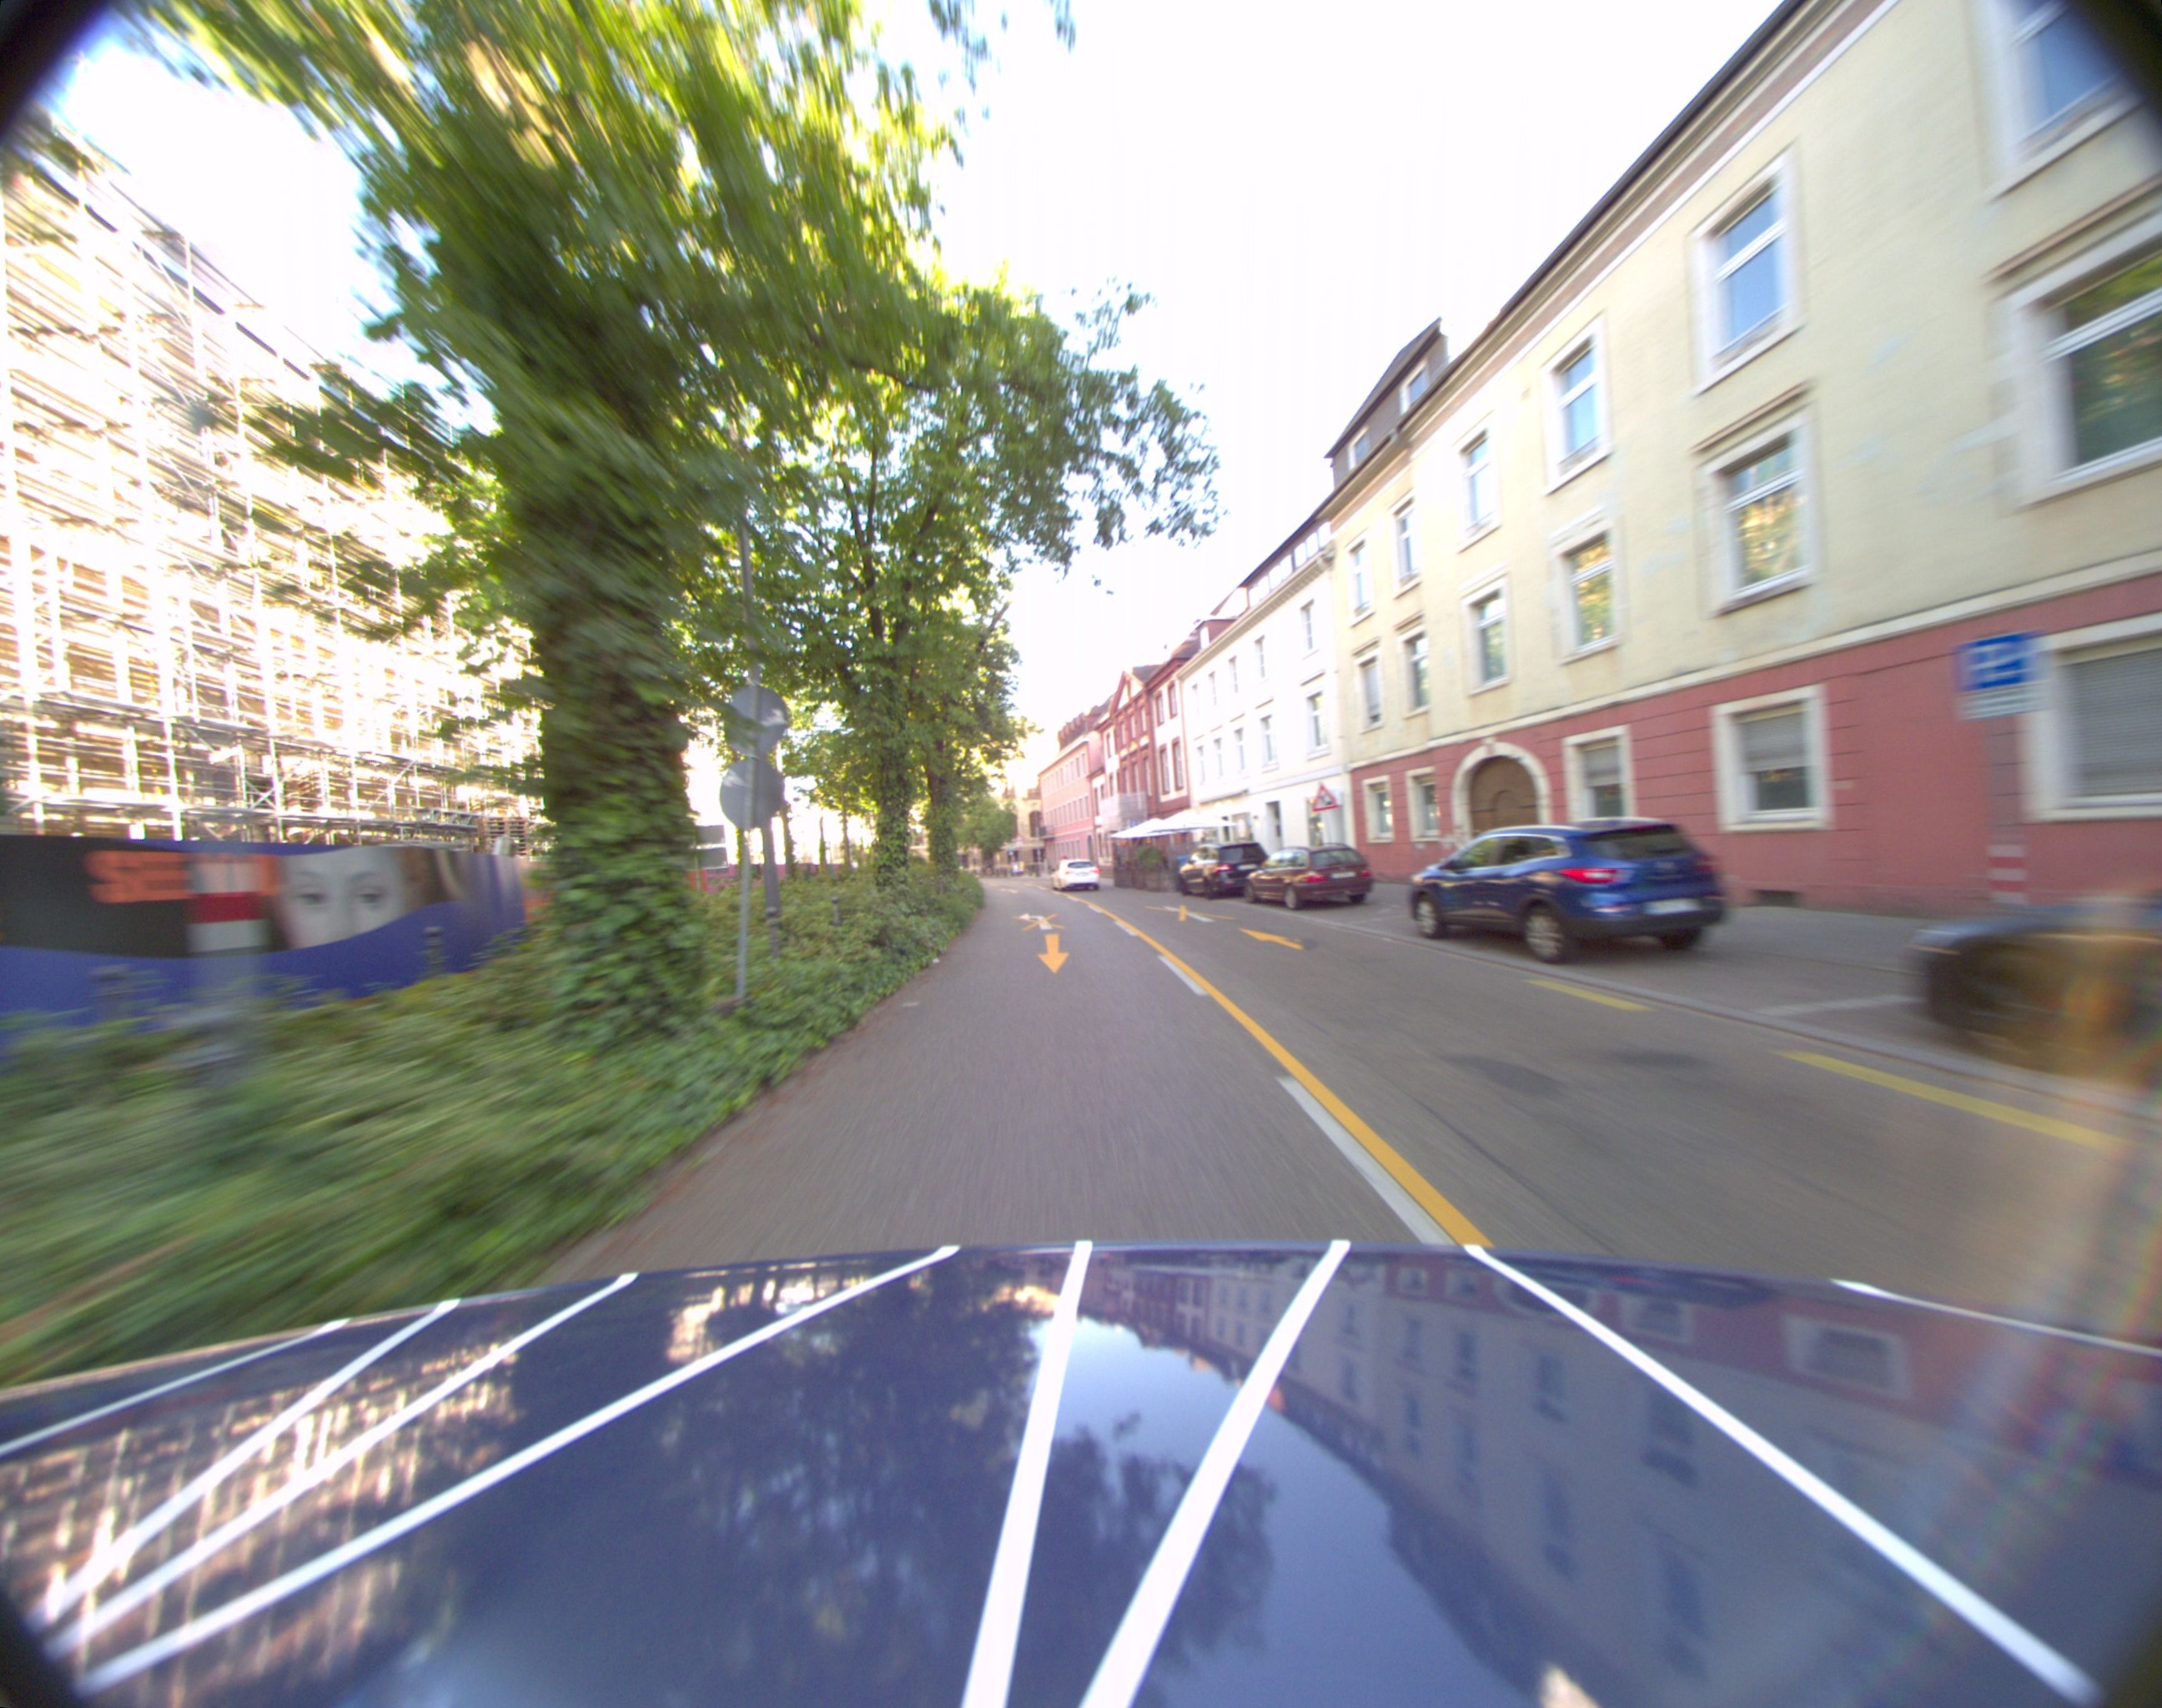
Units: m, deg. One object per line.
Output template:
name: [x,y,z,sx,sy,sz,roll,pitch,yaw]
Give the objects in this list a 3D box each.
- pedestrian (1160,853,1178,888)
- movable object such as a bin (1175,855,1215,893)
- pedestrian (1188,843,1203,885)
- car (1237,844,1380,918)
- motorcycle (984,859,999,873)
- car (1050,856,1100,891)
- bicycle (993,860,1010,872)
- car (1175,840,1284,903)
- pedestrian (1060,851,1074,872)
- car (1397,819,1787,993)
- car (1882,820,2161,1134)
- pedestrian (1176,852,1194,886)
pedestrian: [3.660,0.683,31.745,0.525,1.383,0.488,-4,1,-12]
movable object such as a bin: [4.166,0.713,27.866,1.219,1.288,0.930,-4,1,-4]
pedestrian: [4.940,0.412,32.813,0.438,1.765,0.597,-4,1,4]
car: [5.371,0.587,18.583,1.658,1.472,4.425,-4,0,-7]
motorcycle: [-9.348,1.283,79.245,0.815,1.309,2.333,-4,0,-25]
car: [-0.360,0.857,35.470,1.740,1.413,4.425,-3,0,-8]
bicycle: [-8.499,1.241,81.284,0.682,1.199,2.009,-2,0,32]
car: [4.516,0.495,23.949,1.928,1.670,4.782,-4,0,-7]
pedestrian: [-1.172,0.622,63.148,0.794,1.679,0.868,-6,1,-12]
car: [6.135,0.522,9.925,1.939,1.658,4.345,-4,0,-3]
car: [6.453,0.610,2.754,1.829,1.495,4.758,-5,0,-3]
pedestrian: [4.375,0.610,32.021,0.525,1.383,0.488,-4,1,-12]
